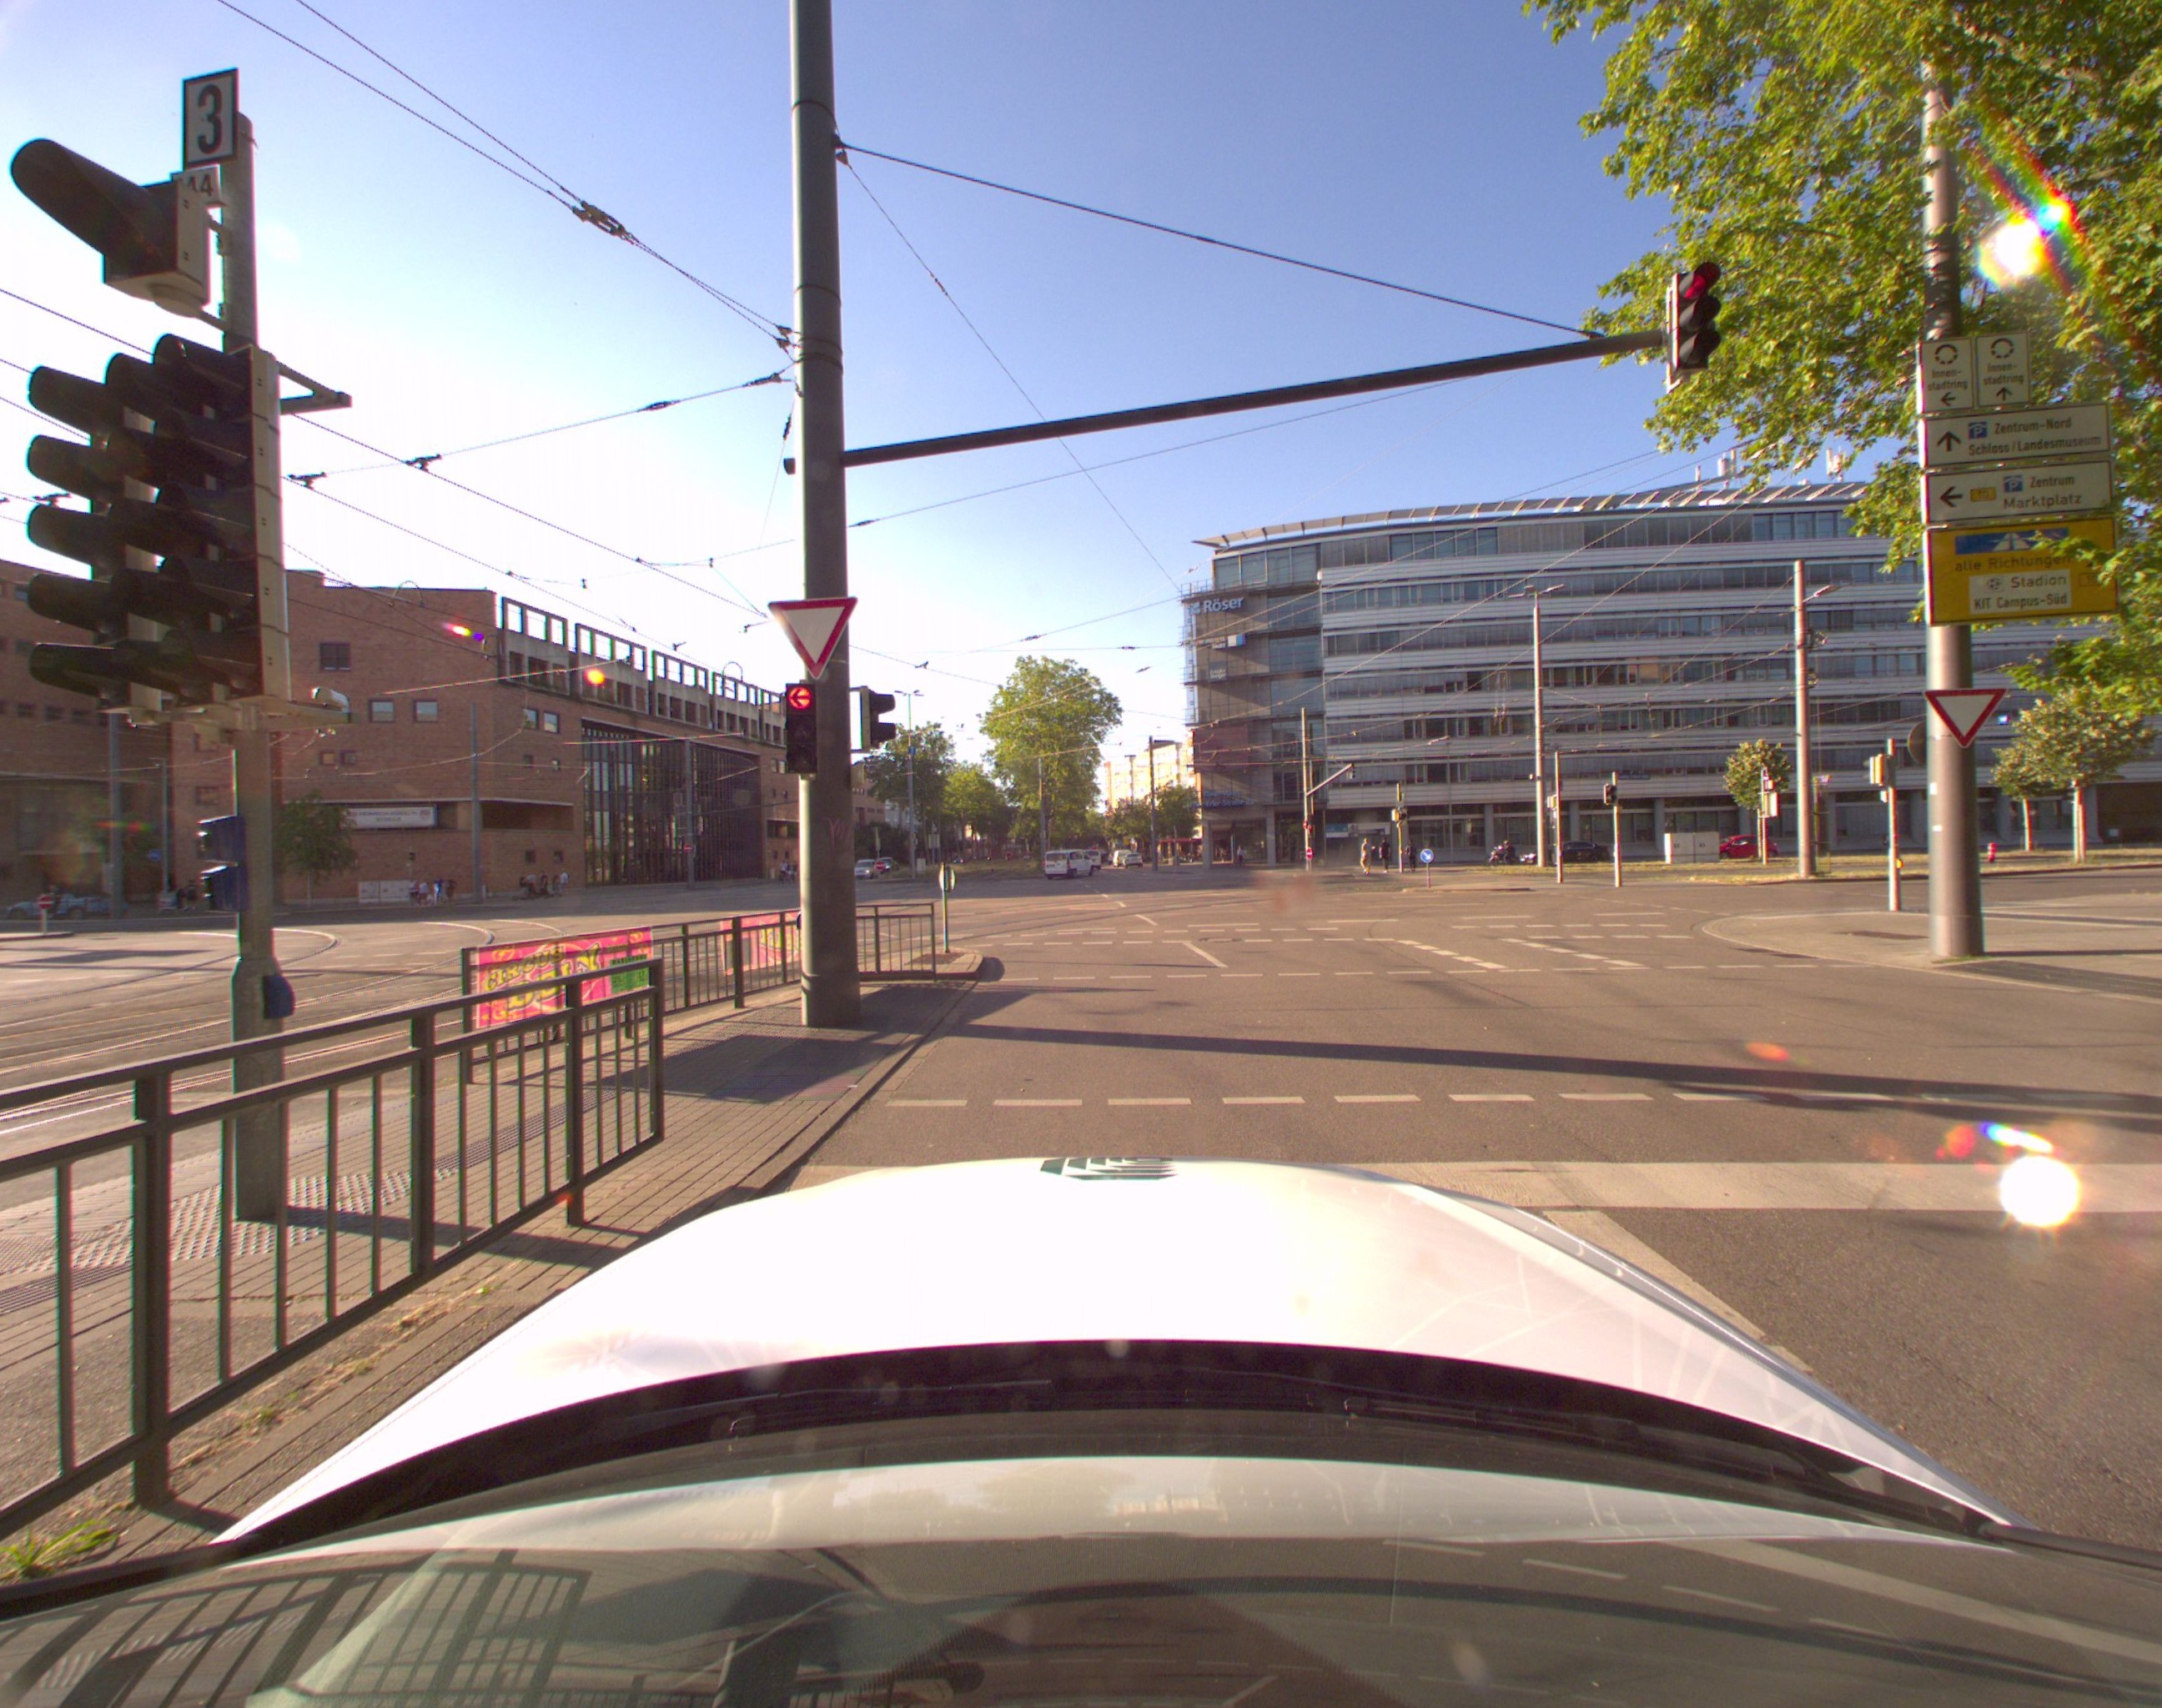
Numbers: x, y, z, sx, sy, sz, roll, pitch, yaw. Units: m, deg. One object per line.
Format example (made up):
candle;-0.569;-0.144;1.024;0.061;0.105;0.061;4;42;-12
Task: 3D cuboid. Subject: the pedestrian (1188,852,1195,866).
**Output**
pedestrian;14.205;0.634;104.870;0.741;1.714;0.612;-2;0;1

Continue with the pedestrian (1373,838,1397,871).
pedestrian;15.964;0.010;42.807;0.907;1.685;1.038;-2;0;9

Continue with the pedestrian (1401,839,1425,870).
pedestrian;17.179;0.011;42.150;0.943;1.564;0.899;-2;0;9

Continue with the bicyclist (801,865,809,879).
bicyclist;-24.396;1.571;71.990;0.503;1.179;0.581;-2;0;1

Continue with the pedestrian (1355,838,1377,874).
pedestrian;14.741;0.090;42.121;0.855;1.788;0.877;-2;0;30

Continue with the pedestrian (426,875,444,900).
pedestrian;-37.894;1.967;47.797;0.568;1.453;0.612;-2;0;-13

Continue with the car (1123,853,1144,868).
car;5.291;0.622;82.823;1.986;1.376;4.002;-2;0;2

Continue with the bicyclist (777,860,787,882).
bicyclist;-24.316;1.394;66.281;0.534;1.731;0.581;-2;0;1

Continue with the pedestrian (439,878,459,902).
pedestrian;-36.535;2.079;47.093;0.597;1.339;0.684;-2;0;17

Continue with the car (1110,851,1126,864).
car;4.820;0.479;105.297;1.986;1.618;4.002;-2;0;2

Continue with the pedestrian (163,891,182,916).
pedestrian;-54.962;2.989;49.265;0.585;1.463;0.536;-2;0;14

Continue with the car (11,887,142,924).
car;-50.329;2.573;40.886;3.706;1.575;1.998;-2;0;-8

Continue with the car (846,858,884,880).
car;-18.004;1.223;67.953;1.987;1.640;4.001;-2;0;1

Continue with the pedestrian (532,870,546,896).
pedestrian;-35.133;1.884;52.758;0.566;1.683;0.553;-2;0;38

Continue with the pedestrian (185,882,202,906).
pedestrian;-54.388;2.457;49.909;0.549;1.427;0.563;-2;0;29

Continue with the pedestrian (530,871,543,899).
pedestrian;-33.711;1.925;50.421;0.554;1.683;0.585;-2;0;-41

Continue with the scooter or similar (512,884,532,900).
scooter or similar;-33.725;2.284;49.150;0.956;0.899;0.173;-2;0;-45

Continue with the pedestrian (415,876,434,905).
pedestrian;-37.573;2.087;46.638;0.597;1.648;0.549;-2;0;1

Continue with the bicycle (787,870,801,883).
bicycle;-23.401;1.844;66.383;0.471;0.963;1.576;-2;0;2

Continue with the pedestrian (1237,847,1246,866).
pedestrian;12.908;0.176;65.536;0.608;1.507;0.580;-2;0;8

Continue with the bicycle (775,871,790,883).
bicycle;-24.303;1.881;66.377;0.540;0.963;1.587;-2;0;2

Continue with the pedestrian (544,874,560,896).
pedestrian;-33.871;1.980;52.132;0.634;1.421;0.603;-2;0;36

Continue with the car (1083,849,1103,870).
car;1.105;0.487;75.528;1.749;1.867;4.526;-2;0;1

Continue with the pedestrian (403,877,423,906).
pedestrian;-38.449;2.142;46.896;0.594;1.614;0.589;-2;0;1

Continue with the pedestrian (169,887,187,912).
pedestrian;-53.190;2.667;47.969;0.508;1.463;0.466;-2;0;-6

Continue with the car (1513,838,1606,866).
car;27.013;-0.093;46.085;4.136;1.398;1.789;-2;0;7

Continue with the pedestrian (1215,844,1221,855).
pedestrian;22.482;-0.725;133.457;0.741;1.714;0.612;-2;0;1

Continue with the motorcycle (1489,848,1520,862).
motorcycle;25.444;0.046;48.980;1.560;0.810;0.468;-2;0;6

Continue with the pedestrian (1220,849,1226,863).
pedestrian;14.927;0.212;85.549;0.608;1.507;0.580;-2;0;9

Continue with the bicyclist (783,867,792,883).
bicyclist;-25.001;1.807;69.409;0.503;1.304;0.581;-2;0;1

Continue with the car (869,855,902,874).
car;-18.115;0.966;75.528;1.987;1.640;4.001;-2;0;1

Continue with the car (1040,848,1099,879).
car;-0.695;0.594;53.801;1.944;1.848;5.358;-2;0;21

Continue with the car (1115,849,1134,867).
car;4.744;0.451;89.641;1.986;1.860;4.002;-2;0;2

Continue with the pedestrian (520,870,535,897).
pedestrian;-34.745;1.853;51.128;0.643;1.683;0.626;-2;0;44

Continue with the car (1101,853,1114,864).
car;4.091;0.657;126.779;1.986;1.618;4.002;-2;0;2

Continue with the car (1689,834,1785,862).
car;38.356;-0.354;47.703;3.966;1.393;1.789;-4;0;7

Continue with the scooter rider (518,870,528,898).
scooter rider;-33.713;1.812;49.189;0.441;1.647;0.226;-2;0;-44

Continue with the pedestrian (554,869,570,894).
pedestrian;-33.954;1.810;53.295;0.605;1.625;0.622;-2;0;27

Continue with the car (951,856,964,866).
car;-25.167;1.411;166.131;1.987;2.013;3.999;-2;0;-1

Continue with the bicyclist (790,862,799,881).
bicyclist;-23.410;1.427;66.523;0.456;1.603;0.581;-2;0;1

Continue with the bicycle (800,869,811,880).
bicycle;-24.373;1.804;72.026;0.449;0.963;1.348;-2;0;2

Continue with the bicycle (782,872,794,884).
bicycle;-24.983;2.017;69.390;0.466;0.963;1.320;-2;0;2

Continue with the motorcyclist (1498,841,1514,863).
motorcyclist;25.568;-0.126;48.975;0.708;1.275;0.460;-2;0;5
